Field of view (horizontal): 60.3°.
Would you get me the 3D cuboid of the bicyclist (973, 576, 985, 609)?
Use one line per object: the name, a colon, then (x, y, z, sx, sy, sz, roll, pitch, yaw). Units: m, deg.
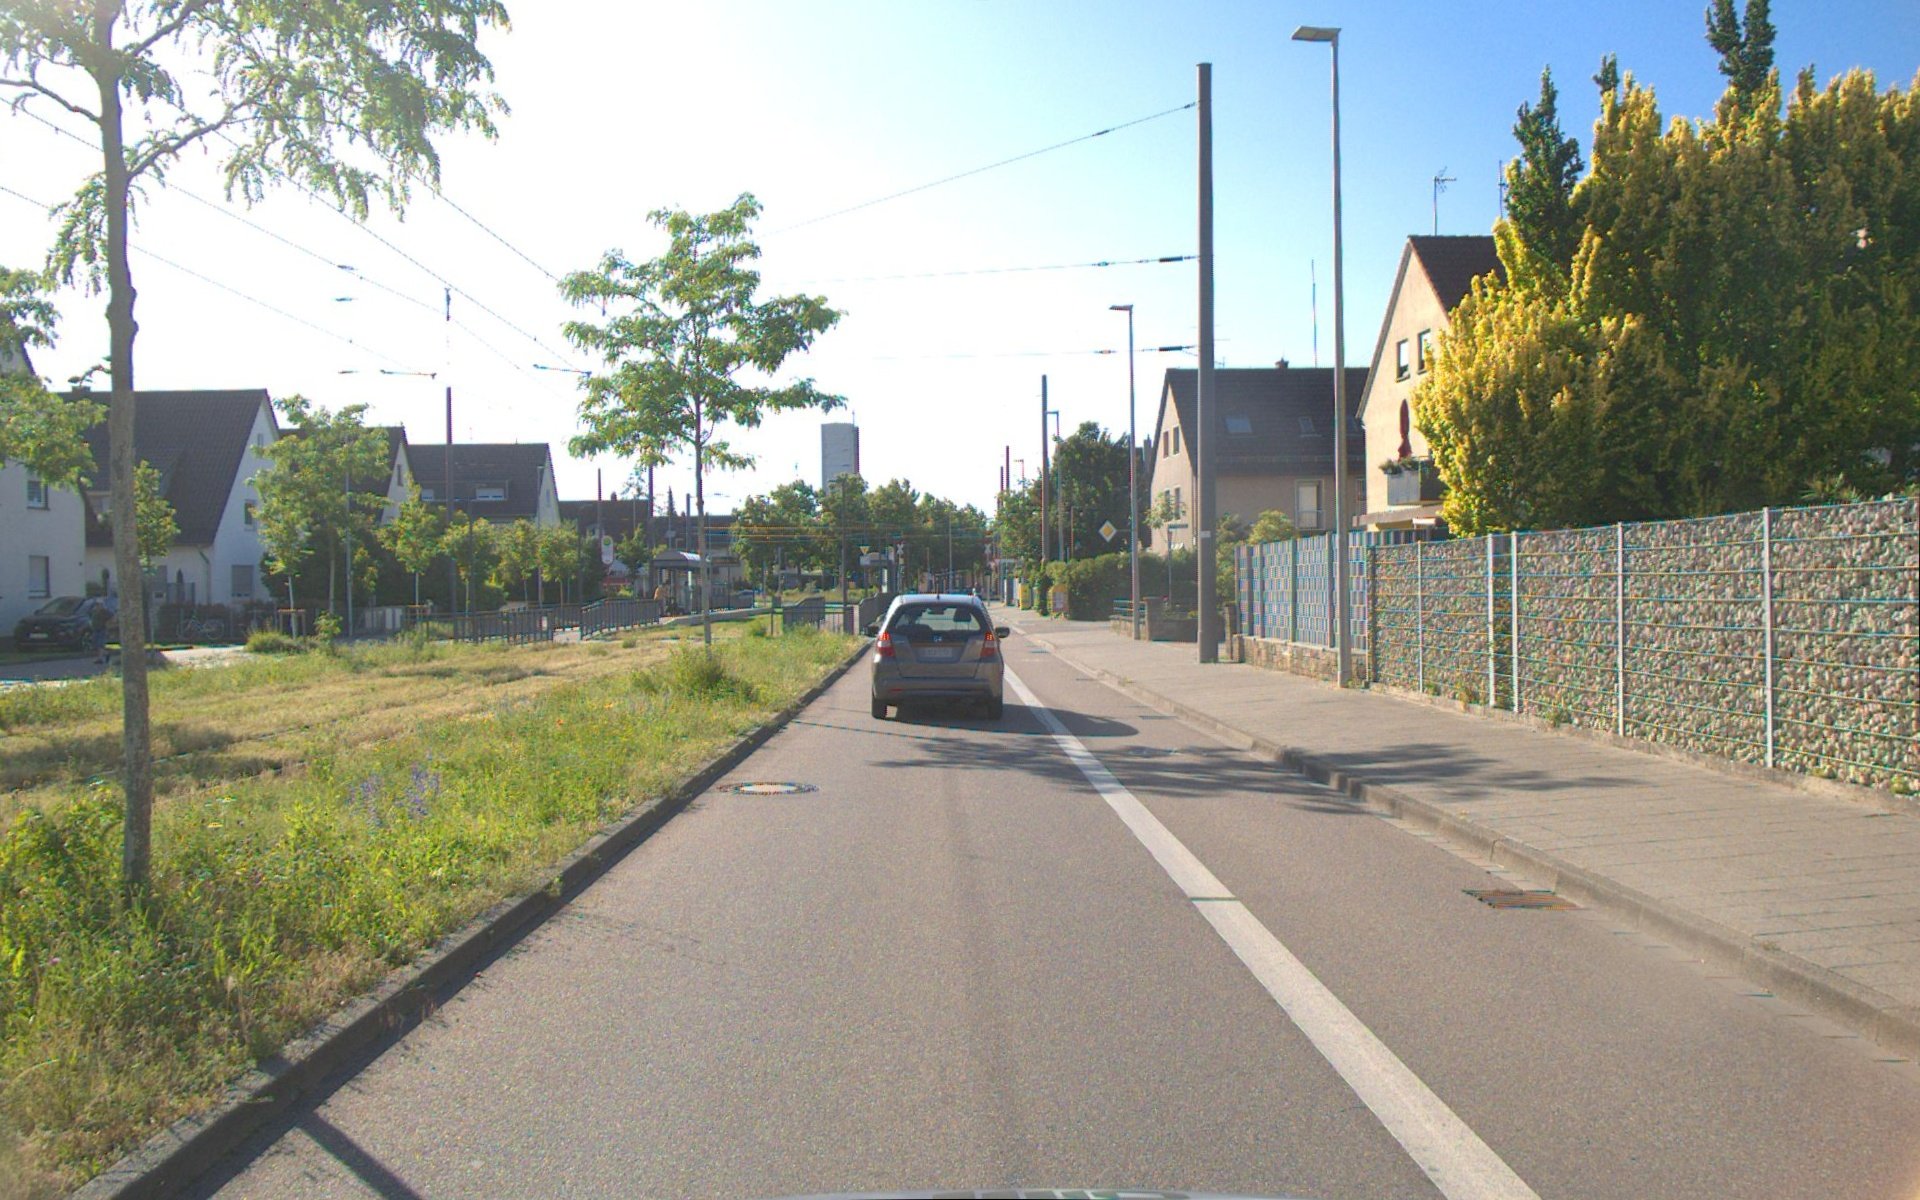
bicyclist: (1.011, -0.404, 88.137, 0.586, 1.731, 0.683, 1, -1, -1)

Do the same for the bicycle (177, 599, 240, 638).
bicycle: (-27.556, 0.684, 60.679, 1.951, 1.389, 0.704, -1, 0, -8)

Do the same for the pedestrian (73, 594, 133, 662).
pedestrian: (-21.514, 0.704, 41.544, 0.945, 1.669, 1.085, -1, 0, -1)

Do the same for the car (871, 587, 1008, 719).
car: (-0.294, 0.637, 21.629, 1.637, 1.562, 3.486, 1, 0, -2)

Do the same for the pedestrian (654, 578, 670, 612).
pedestrian: (-13.874, -0.220, 77.086, 0.662, 1.562, 0.748, -1, 0, -5)

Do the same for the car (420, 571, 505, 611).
car: (-25.549, -0.439, 85.038, 3.913, 2.004, 1.929, 1, 0, -9)

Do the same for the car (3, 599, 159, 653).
car: (-25.931, 0.732, 49.018, 1.895, 1.475, 5.161, -1, 0, -1)

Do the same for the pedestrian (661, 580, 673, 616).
pedestrian: (-13.997, -0.099, 78.968, 0.509, 1.738, 0.580, -1, 0, -5)

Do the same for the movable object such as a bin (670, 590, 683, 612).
movable object such as a bin: (-13.233, 0.036, 77.149, 0.535, 1.005, 0.741, -1, 0, -5)

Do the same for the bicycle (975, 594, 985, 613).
bicycle: (1.069, 0.202, 88.415, 0.465, 0.978, 1.657, 1, 0, -1)
